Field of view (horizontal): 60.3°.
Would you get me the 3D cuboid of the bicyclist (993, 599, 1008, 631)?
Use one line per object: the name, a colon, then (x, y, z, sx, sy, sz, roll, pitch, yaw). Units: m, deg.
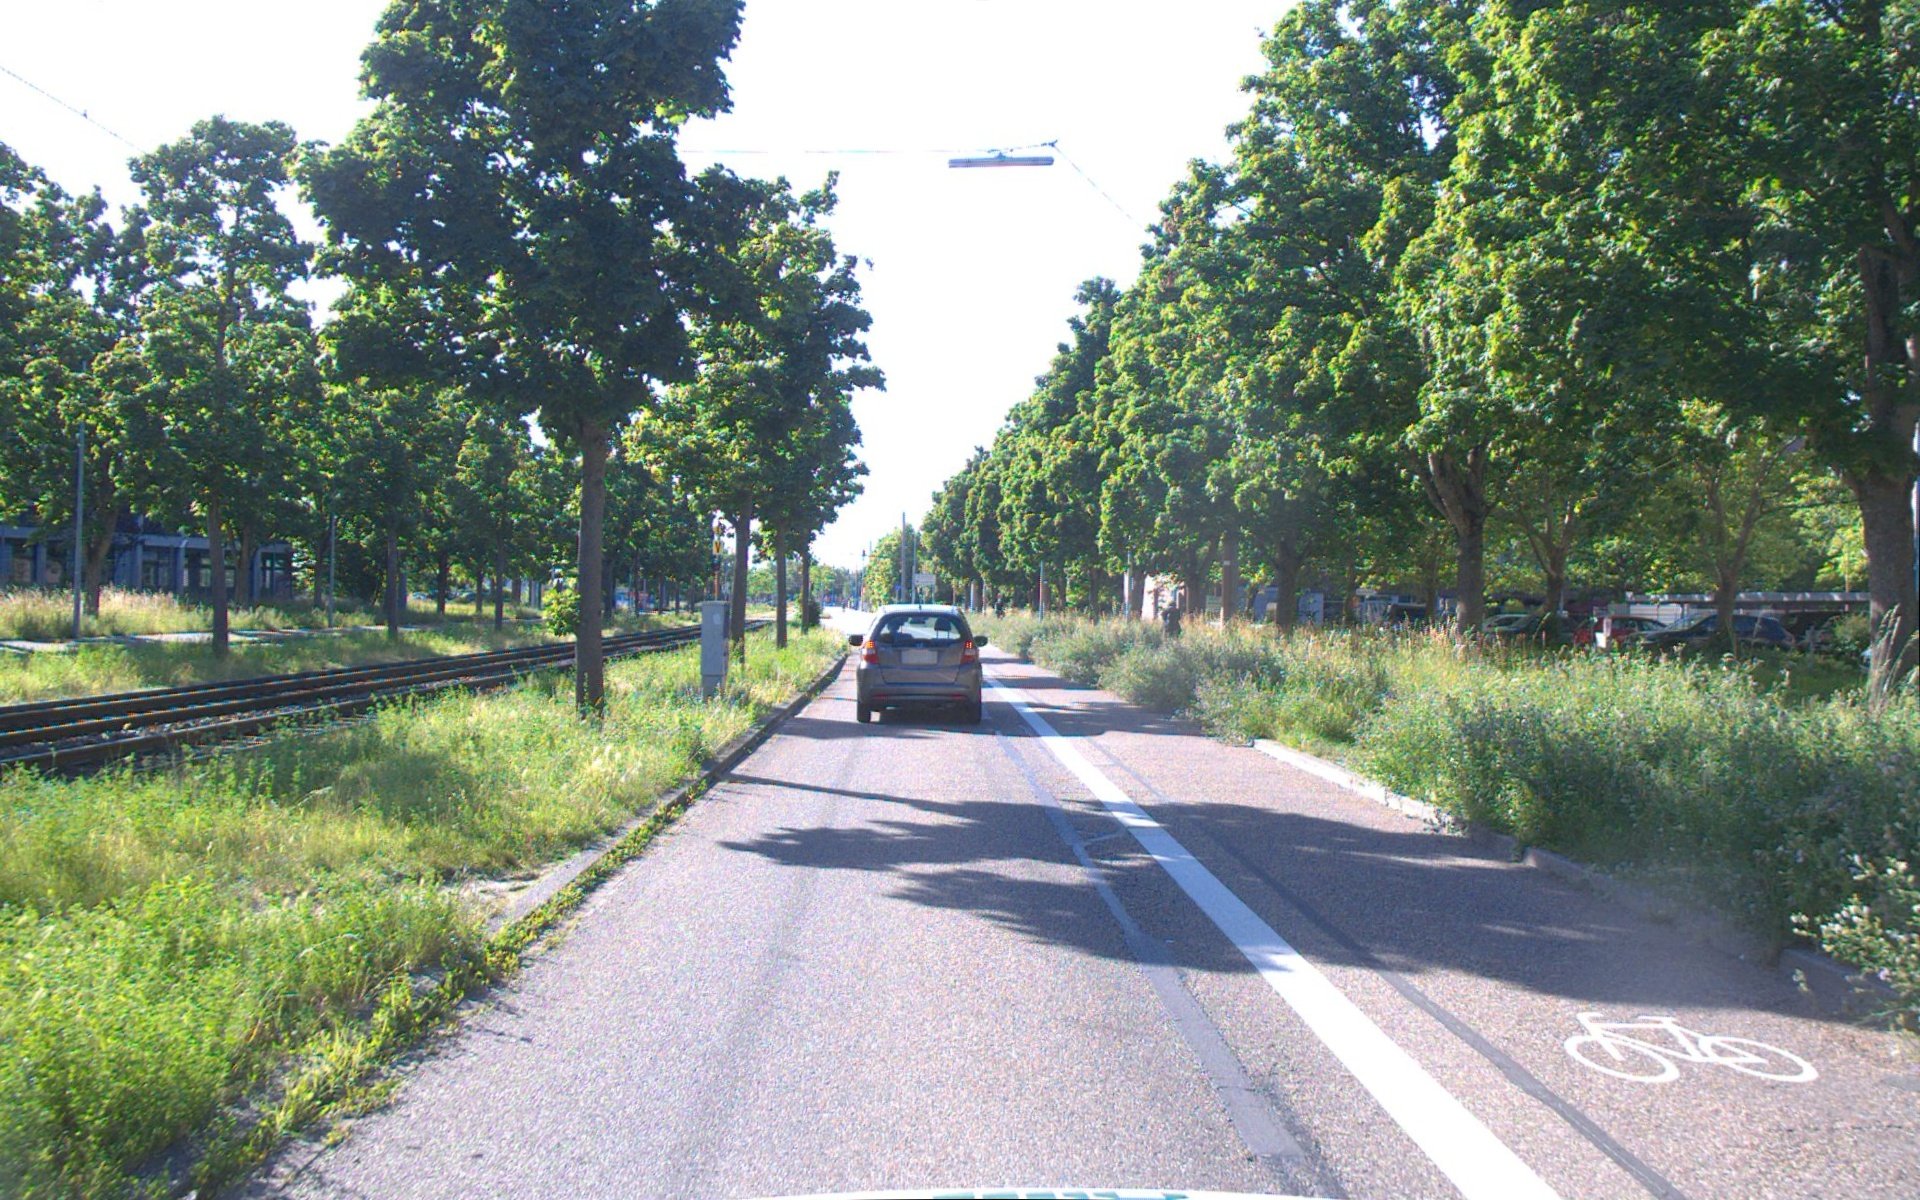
bicyclist: (2.247, 0.825, 91.622, 0.670, 1.750, 0.900, 1, -1, -9)

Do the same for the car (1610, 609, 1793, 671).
car: (20.719, 1.112, 46.283, 4.306, 1.624, 1.882, 1, 0, -6)

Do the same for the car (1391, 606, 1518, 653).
car: (17.374, 1.035, 58.192, 3.917, 1.552, 1.704, 1, 0, -6)

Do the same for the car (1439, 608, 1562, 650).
car: (20.492, 1.089, 62.826, 4.079, 1.457, 1.825, 1, 0, 1)

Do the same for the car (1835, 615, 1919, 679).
car: (21.614, 1.003, 35.693, 4.605, 1.293, 1.806, 0, 1, -5)

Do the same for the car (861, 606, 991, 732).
car: (-0.502, 0.851, 21.967, 1.592, 1.526, 3.454, 0, 0, -3)

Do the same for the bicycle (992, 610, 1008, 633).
bicycle: (2.215, 1.210, 91.780, 0.474, 1.226, 2.138, 1, -2, -10)

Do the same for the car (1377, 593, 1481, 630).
car: (20.269, 0.494, 71.567, 3.948, 1.531, 1.737, 1, 0, -2)

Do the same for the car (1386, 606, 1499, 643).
car: (20.222, 1.010, 69.386, 4.266, 1.484, 1.689, 1, 0, 1)

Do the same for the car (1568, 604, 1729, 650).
car: (21.321, 0.828, 51.353, 4.203, 1.347, 1.941, 0, 1, 2)

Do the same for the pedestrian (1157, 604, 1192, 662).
pedestrian: (5.944, 0.911, 45.873, 0.807, 1.596, 0.762, 1, 0, -2)
